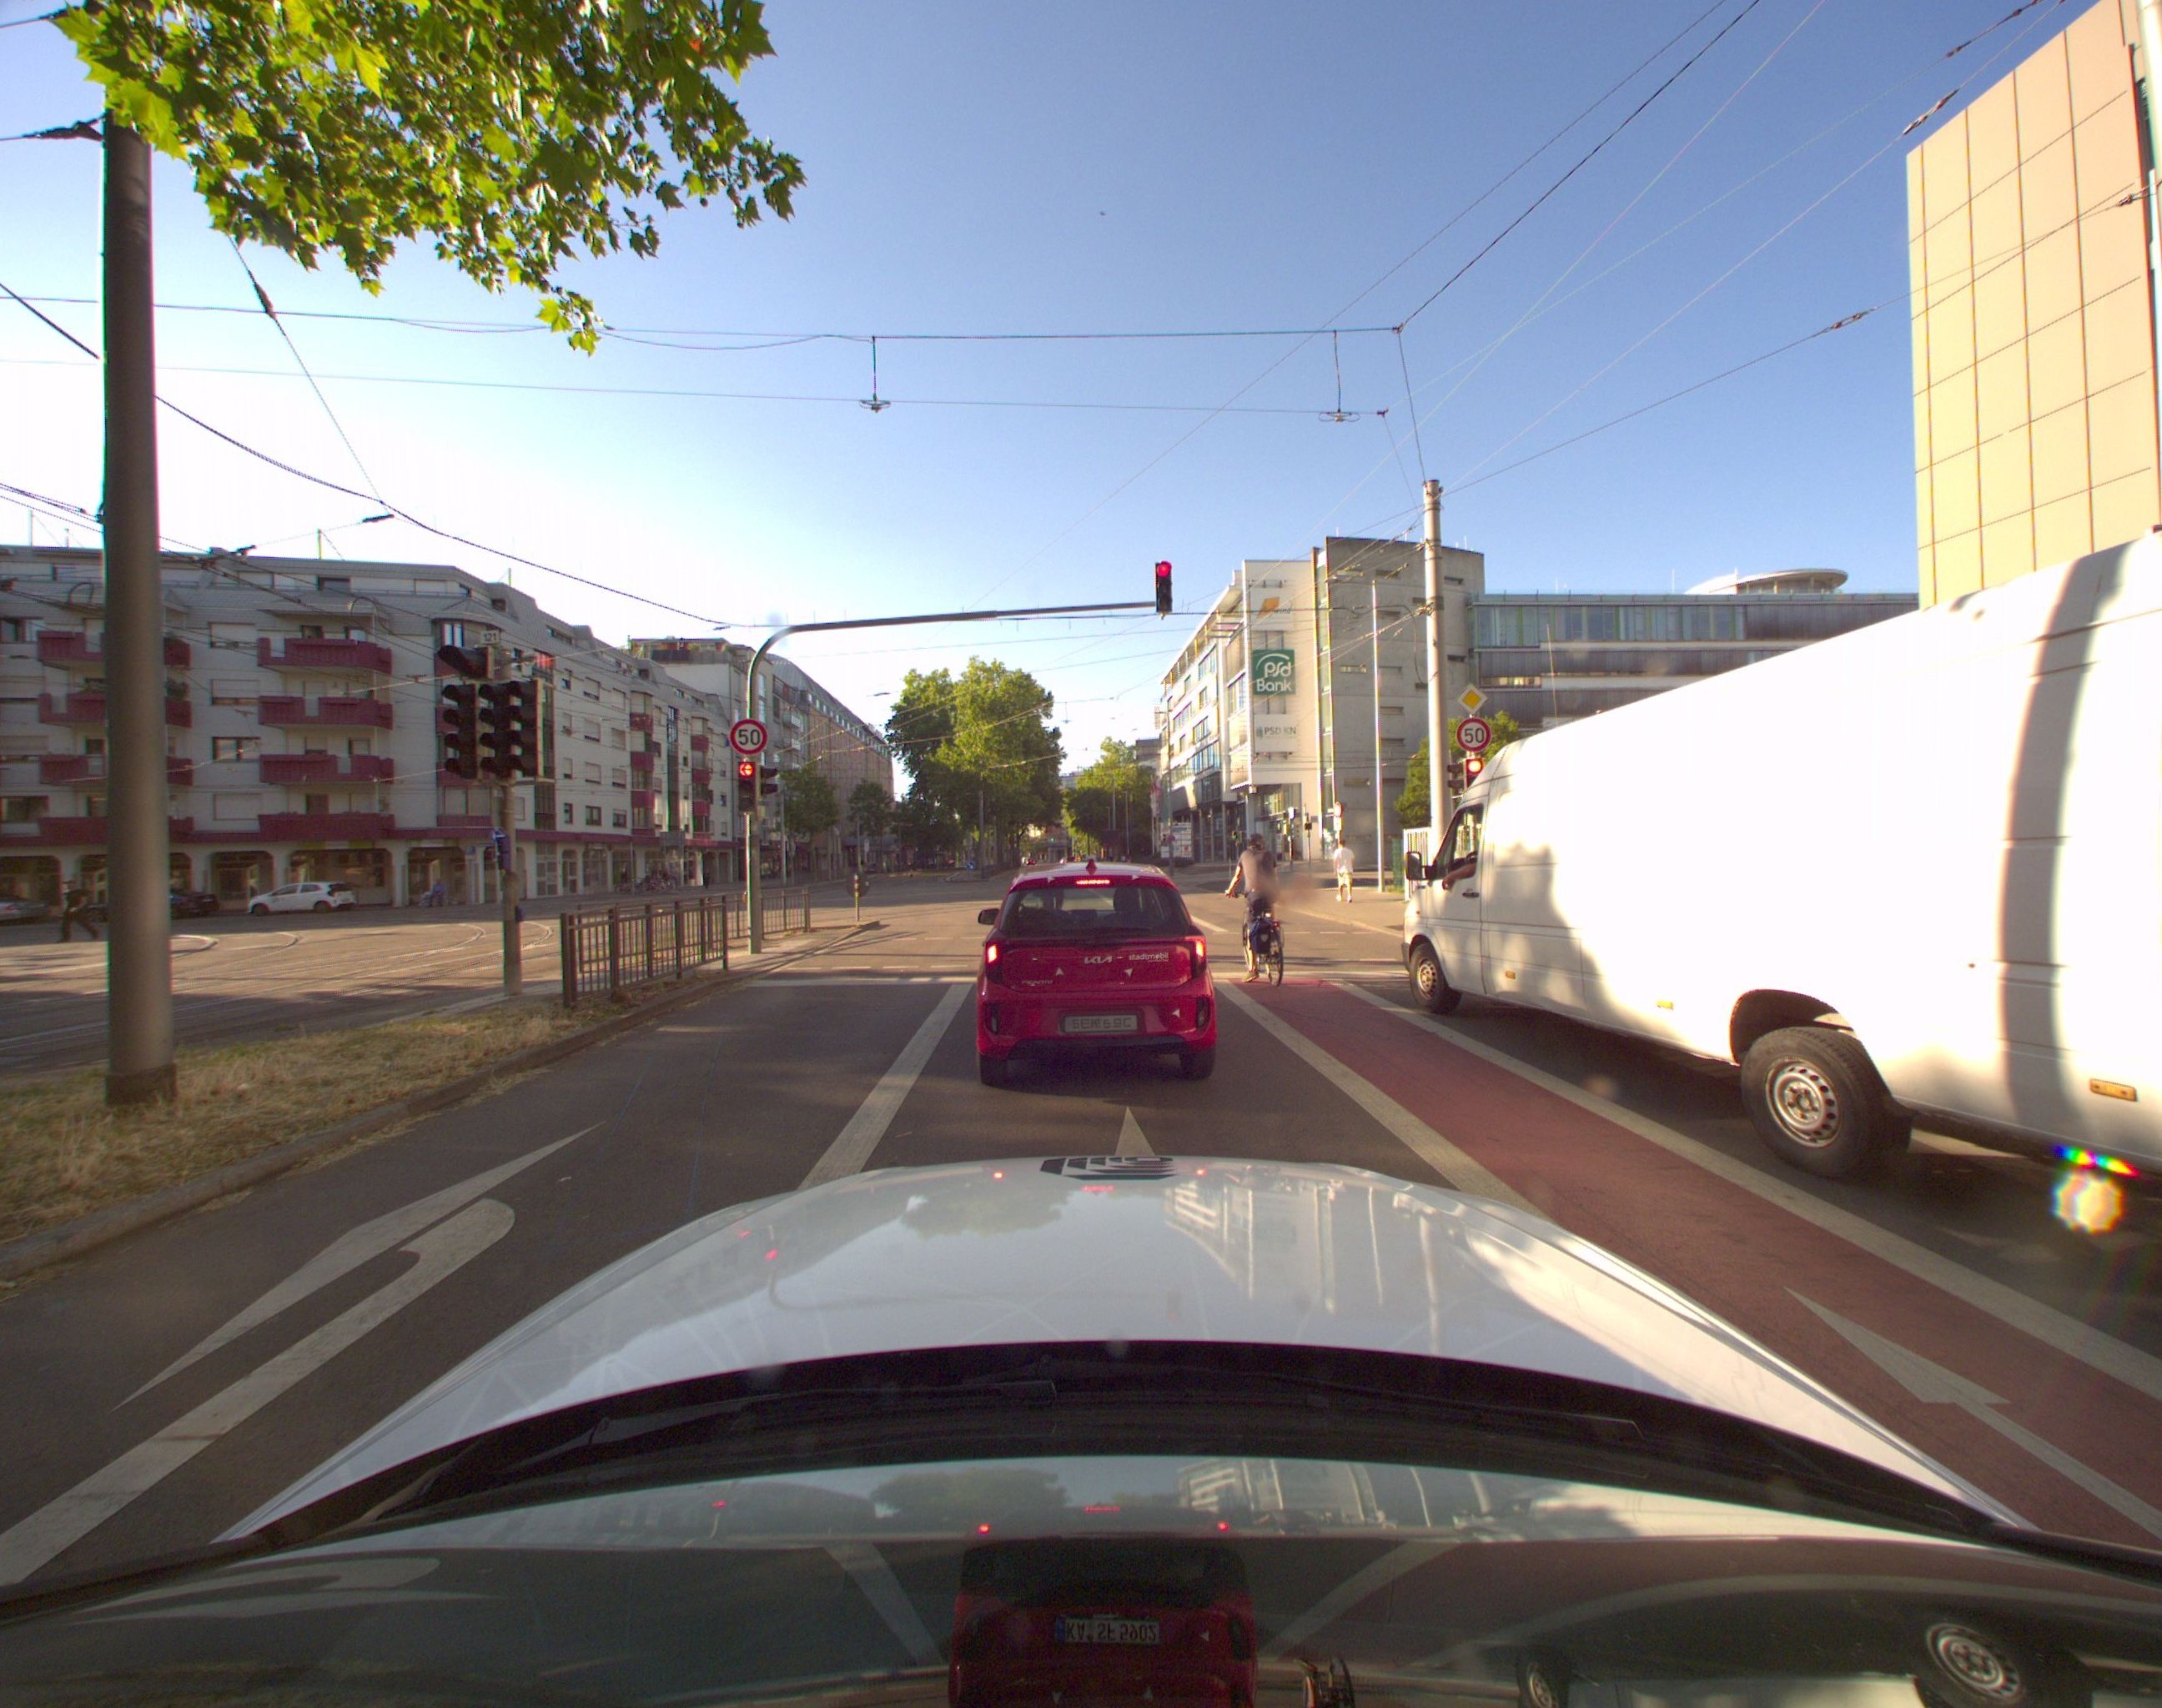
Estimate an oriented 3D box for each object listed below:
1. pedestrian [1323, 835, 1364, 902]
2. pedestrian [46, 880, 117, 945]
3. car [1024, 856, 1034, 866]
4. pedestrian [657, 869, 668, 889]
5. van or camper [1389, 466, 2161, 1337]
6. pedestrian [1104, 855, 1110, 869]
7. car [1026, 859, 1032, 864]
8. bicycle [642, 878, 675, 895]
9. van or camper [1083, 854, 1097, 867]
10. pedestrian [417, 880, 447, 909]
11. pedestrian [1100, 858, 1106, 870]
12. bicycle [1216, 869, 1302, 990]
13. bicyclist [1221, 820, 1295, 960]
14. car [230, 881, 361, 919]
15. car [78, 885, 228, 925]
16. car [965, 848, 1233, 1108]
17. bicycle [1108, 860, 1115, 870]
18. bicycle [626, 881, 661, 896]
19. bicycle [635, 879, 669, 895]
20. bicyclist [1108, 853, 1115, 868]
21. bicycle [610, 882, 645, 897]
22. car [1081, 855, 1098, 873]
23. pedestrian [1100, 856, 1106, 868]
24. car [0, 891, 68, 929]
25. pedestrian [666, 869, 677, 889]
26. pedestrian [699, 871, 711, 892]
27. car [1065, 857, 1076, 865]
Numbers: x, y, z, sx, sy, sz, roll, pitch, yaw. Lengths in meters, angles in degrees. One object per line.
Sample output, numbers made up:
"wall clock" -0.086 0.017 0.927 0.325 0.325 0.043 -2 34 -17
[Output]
"pedestrian" 7.414 0.401 23.078 0.774 1.823 1.217 -2 0 3
"pedestrian" -28.587 1.657 23.309 0.733 1.752 1.017 -2 0 -6
"car" -11.224 1.559 176.026 1.991 2.013 3.992 -2 0 -6
"pedestrian" -31.770 1.867 61.776 0.533 1.494 0.586 -2 0 -6
"van or camper" 4.293 0.146 5.428 1.963 2.716 6.301 -1 0 -1
"pedestrian" 3.082 0.949 97.573 0.644 1.680 0.652 -2 0 2
"car" -16.320 2.282 256.524 1.776 1.535 3.403 -1 0 -8
"bicycle" -27.704 2.123 53.437 1.840 0.985 0.552 -2 0 -6
"van or camper" 1.457 1.041 132.475 1.988 1.989 4.741 -1 0 -2
"pedestrian" -32.579 2.020 40.886 0.857 1.384 0.833 -2 0 -14
"pedestrian" 3.152 1.446 115.998 0.640 1.579 0.723 -5 0 -2
"bicycle" 2.128 0.851 9.989 0.647 1.281 1.967 -2 0 2
"bicyclist" 2.146 0.417 9.967 0.647 1.603 1.089 -2 0 2
"car" -37.166 2.160 38.651 3.989 1.555 1.992 -2 0 -12
"car" -42.421 2.306 37.348 4.112 1.555 1.992 -2 0 -12
"car" 0.038 0.748 6.654 1.609 1.535 3.408 -1 0 -3
"bicycle" 3.504 1.251 93.121 0.694 1.098 1.751 -5 0 1
"bicycle" -27.698 2.168 51.554 1.837 0.854 0.553 -2 0 -1
"bicycle" -27.792 2.137 52.823 1.840 0.985 0.552 -2 0 -6
"bicyclist" 3.461 0.718 93.159 0.719 1.603 1.089 -4 -1 1
"bicycle" -28.259 2.198 50.792 1.837 0.854 0.553 -2 0 -1
"car" 0.892 1.035 86.653 1.631 1.800 3.328 -2 0 -1
"pedestrian" 3.411 1.262 128.058 0.888 1.753 0.841 -2 0 1
"car" -48.596 2.528 35.949 4.572 1.555 1.992 -2 0 -12
"pedestrian" -31.097 1.862 61.850 0.533 1.494 0.586 -2 0 -6
"pedestrian" -28.506 2.040 61.739 0.694 1.544 1.042 -2 0 -20
"car" -2.180 1.498 168.398 1.776 1.535 3.503 -1 0 -8
